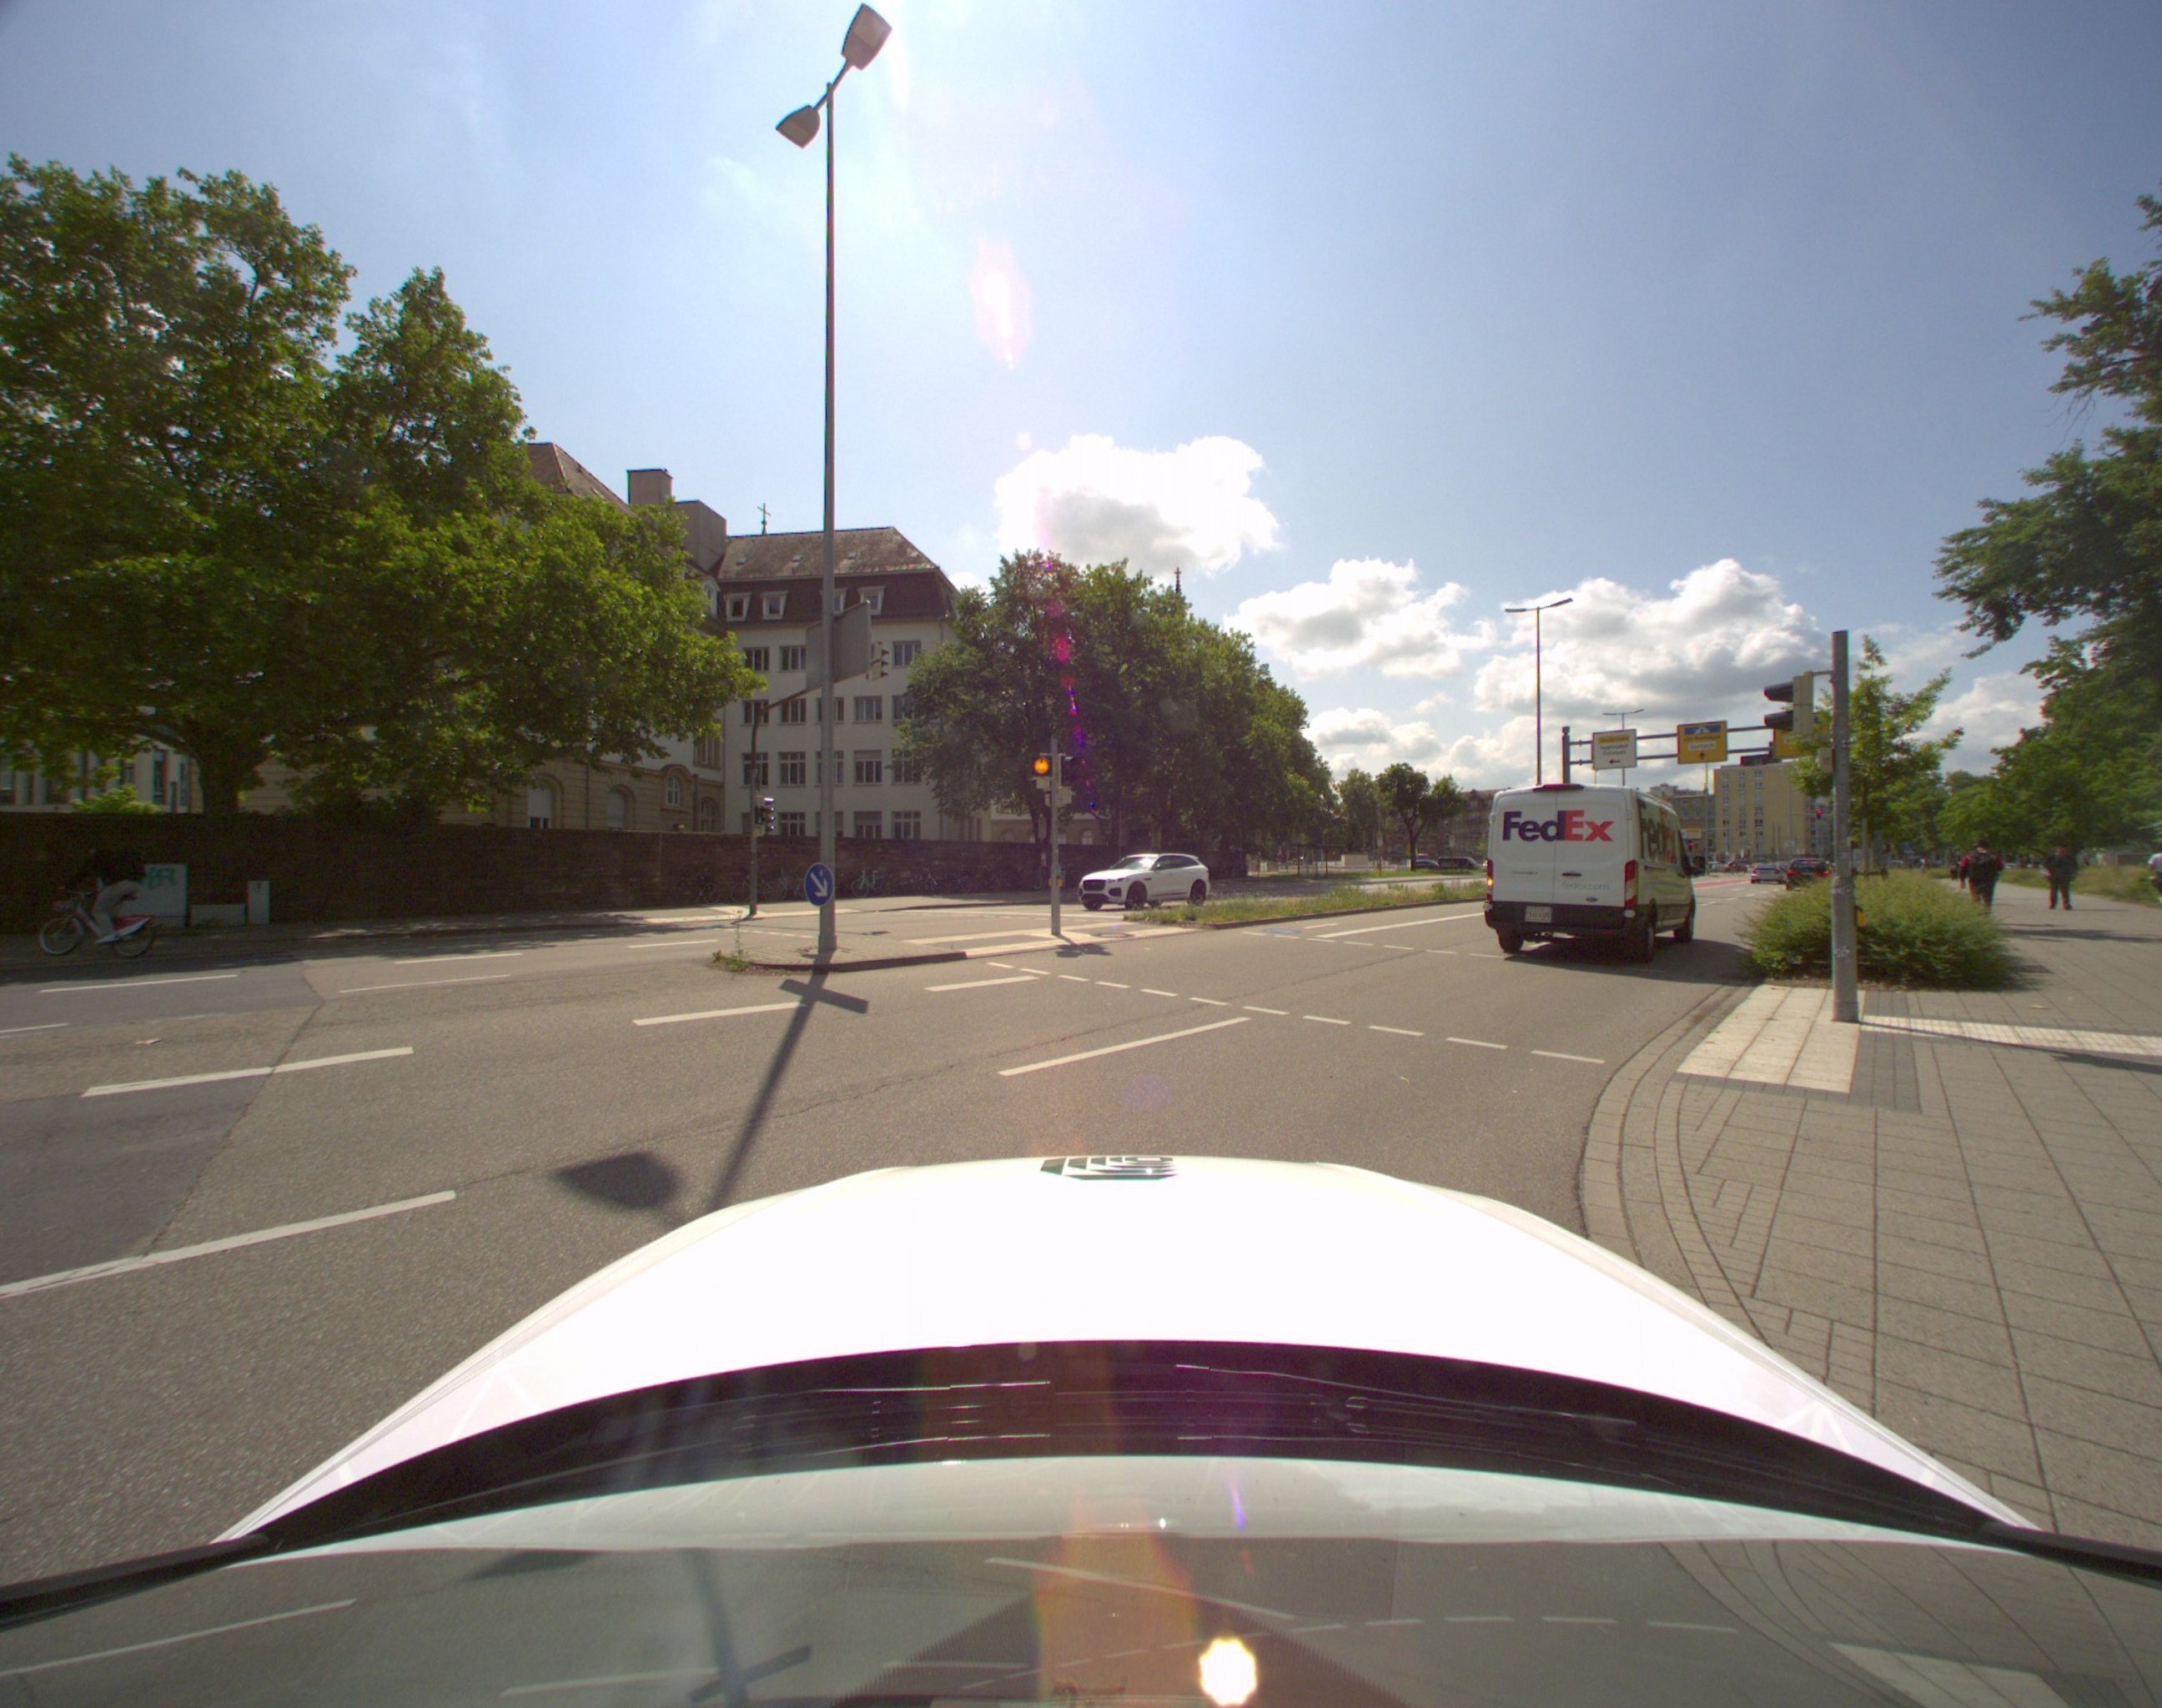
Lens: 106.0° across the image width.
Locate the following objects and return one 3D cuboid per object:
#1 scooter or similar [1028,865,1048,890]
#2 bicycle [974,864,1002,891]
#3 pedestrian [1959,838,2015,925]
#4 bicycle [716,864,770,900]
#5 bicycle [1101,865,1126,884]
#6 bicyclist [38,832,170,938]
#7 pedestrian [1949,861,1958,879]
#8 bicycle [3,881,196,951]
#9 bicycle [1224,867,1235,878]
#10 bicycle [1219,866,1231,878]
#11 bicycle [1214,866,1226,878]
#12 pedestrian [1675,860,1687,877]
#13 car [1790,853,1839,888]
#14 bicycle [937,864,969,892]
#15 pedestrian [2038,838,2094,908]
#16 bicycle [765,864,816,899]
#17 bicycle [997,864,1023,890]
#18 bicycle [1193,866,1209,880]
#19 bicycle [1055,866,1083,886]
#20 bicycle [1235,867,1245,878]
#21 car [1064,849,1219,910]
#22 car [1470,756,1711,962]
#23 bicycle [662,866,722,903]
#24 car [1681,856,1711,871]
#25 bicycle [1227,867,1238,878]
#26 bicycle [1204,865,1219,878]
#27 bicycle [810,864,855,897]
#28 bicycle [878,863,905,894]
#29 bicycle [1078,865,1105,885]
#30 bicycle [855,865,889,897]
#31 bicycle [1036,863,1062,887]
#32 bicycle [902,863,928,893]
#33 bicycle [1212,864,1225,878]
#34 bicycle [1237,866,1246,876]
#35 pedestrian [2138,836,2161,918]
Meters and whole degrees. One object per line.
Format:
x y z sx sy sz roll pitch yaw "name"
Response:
-2.018 1.088 38.358 0.428 1.152 1.199 -1 -1 23 "scooter or similar"
-4.115 1.010 36.007 0.527 1.152 1.603 -1 -1 22 "bicycle"
18.534 0.549 16.679 0.842 1.722 0.710 1 -1 -45 "pedestrian"
-11.095 0.897 26.776 0.494 1.152 1.604 -1 -1 36 "bicycle"
1.816 1.145 45.411 0.538 1.047 1.907 0 -1 32 "bicycle"
-15.979 0.493 13.354 1.107 1.668 0.782 0 -1 -14 "bicyclist"
62.464 1.141 58.314 0.354 1.260 0.395 -1 -2 37 "pedestrian"
-16.017 0.987 13.349 1.891 1.063 0.814 0 -1 -13 "bicycle"
12.246 1.516 67.117 0.539 0.902 1.674 0 -1 24 "bicycle"
11.616 1.464 65.530 0.539 0.902 1.674 0 -1 24 "bicycle"
10.953 1.422 63.926 0.539 0.902 1.674 0 -1 24 "bicycle"
54.538 1.344 74.011 0.864 1.560 0.559 -1 -1 36 "pedestrian"
39.209 0.849 43.480 1.795 1.734 4.414 1 0 44 "car"
-5.425 1.004 34.610 0.397 1.152 1.604 -1 -1 32 "bicycle"
25.036 0.469 20.719 0.935 1.722 0.806 1 -1 -45 "pedestrian"
-10.059 0.928 28.241 0.615 1.152 1.604 -1 -1 36 "bicycle"
-3.260 1.044 37.612 0.527 1.152 1.603 -1 -1 22 "bicycle"
8.581 1.352 58.223 0.538 0.902 1.675 0 -1 29 "bicycle"
-0.621 1.119 41.791 0.475 1.008 1.813 -1 -1 35 "bicycle"
14.075 1.644 72.175 0.539 0.902 1.674 0 -1 24 "bicycle"
1.918 0.699 24.611 2.052 1.667 4.803 -1 -1 45 "car"
8.488 0.080 13.259 2.121 2.652 5.737 -1 -1 44 "car"
-12.063 0.933 25.312 0.566 1.098 1.604 -1 -1 36 "bicycle"
83.231 1.269 110.230 4.013 2.014 1.980 1 -1 -32 "car"
12.802 1.539 68.826 0.448 0.902 1.804 0 -1 24 "bicycle"
9.740 1.328 60.748 0.538 0.951 1.675 0 -1 27 "bicycle"
-9.065 0.953 29.760 0.408 1.152 1.604 -1 -1 38 "bicycle"
-7.345 0.939 31.607 0.399 1.152 1.599 0 -1 11 "bicycle"
0.574 1.130 43.598 0.538 1.047 1.962 0 -1 32 "bicycle"
-7.992 1.018 31.219 0.398 1.152 1.602 -1 -1 21 "bicycle"
-1.580 1.040 40.337 0.427 1.143 1.604 -1 -1 32 "bicycle"
-6.613 0.959 32.474 0.399 1.152 1.599 0 -1 11 "bicycle"
10.530 1.309 62.260 0.538 1.051 1.633 0 -1 27 "bicycle"
14.640 1.537 74.197 0.539 0.902 1.673 0 0 19 "bicycle"
22.979 0.483 17.184 0.751 1.722 0.716 1 -1 -45 "pedestrian"
